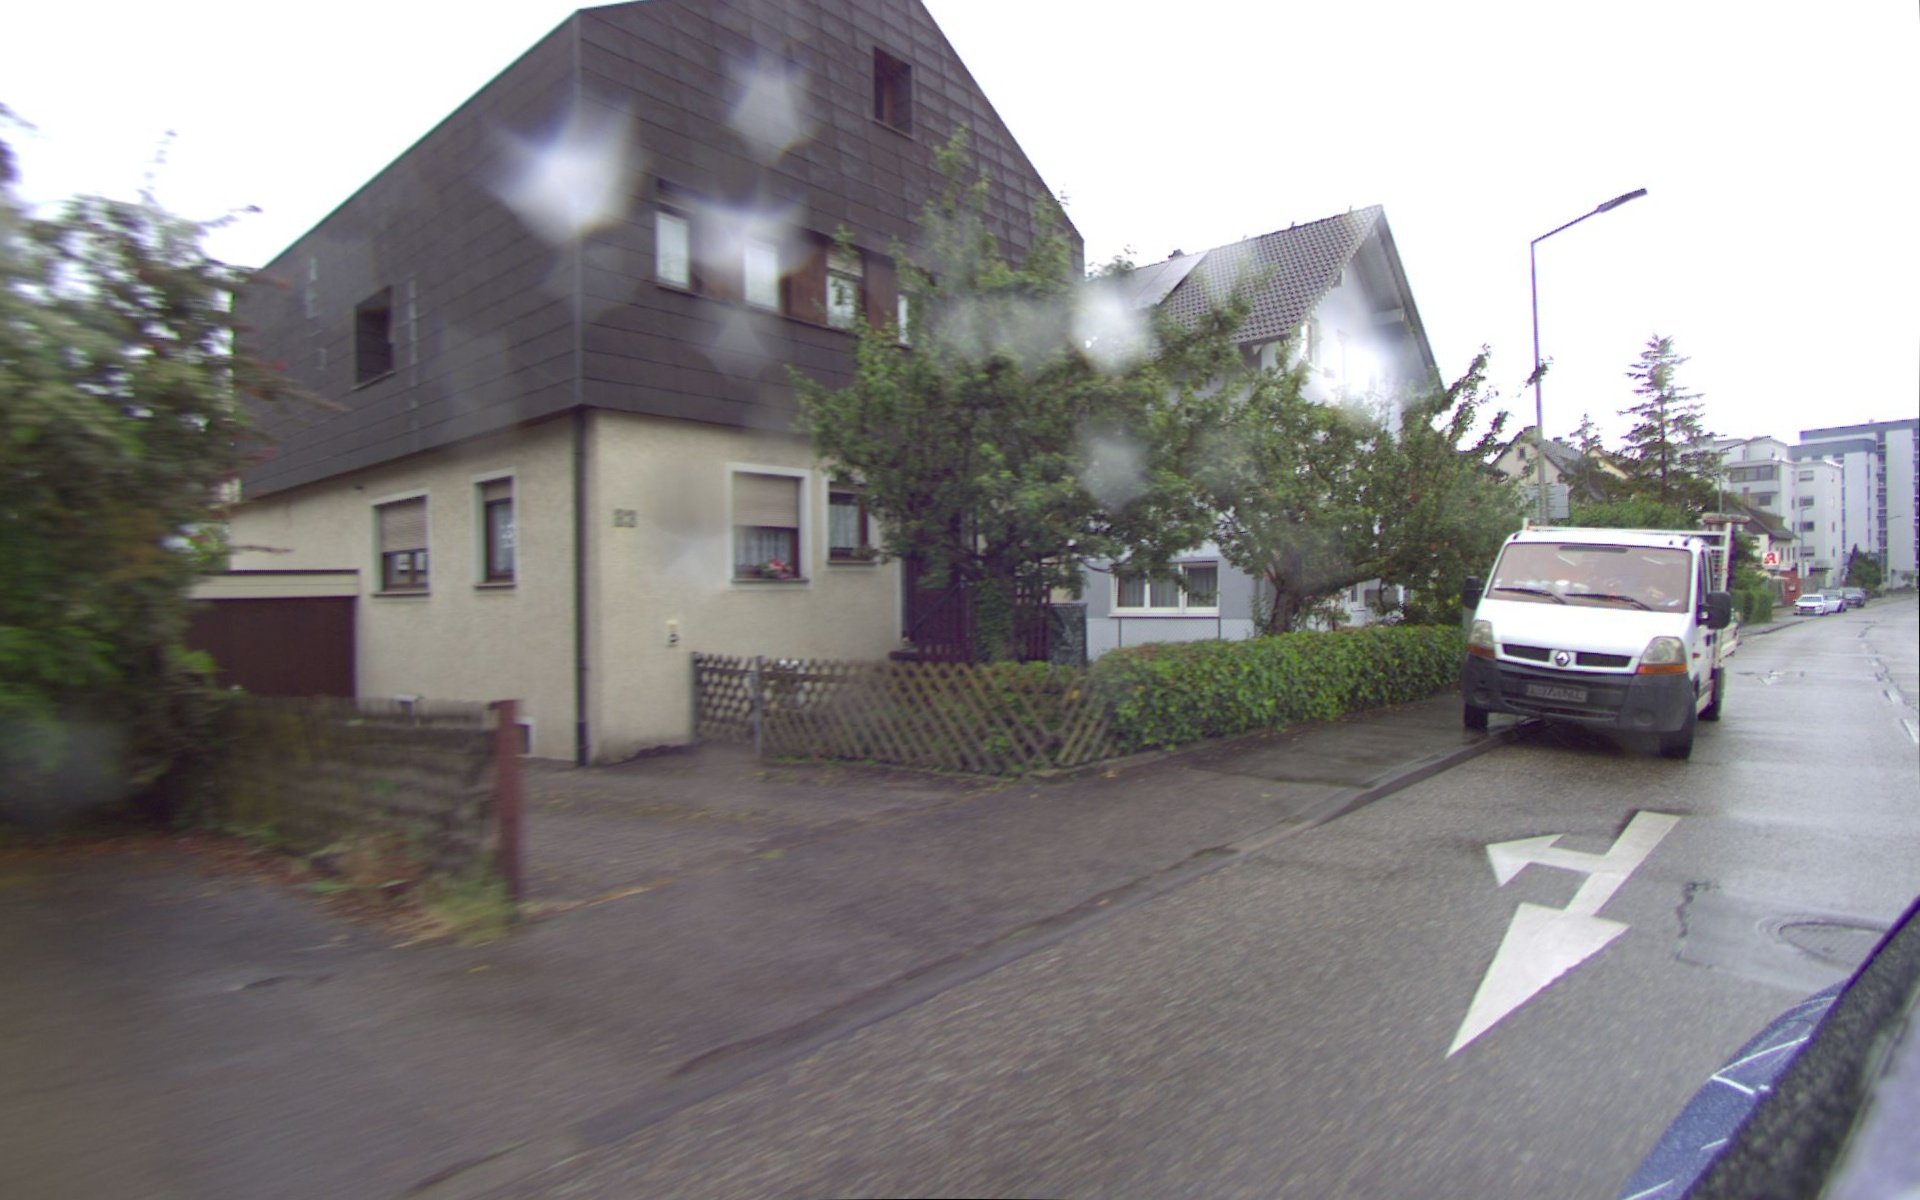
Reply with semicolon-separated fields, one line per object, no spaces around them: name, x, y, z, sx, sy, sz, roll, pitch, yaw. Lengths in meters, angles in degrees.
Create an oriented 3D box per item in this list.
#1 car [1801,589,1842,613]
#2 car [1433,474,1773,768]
car;61.482;0.030;72.189;3.641;1.652;1.909;-1;0;-44
car;7.686;0.149;11.673;2.389;2.462;6.336;0;0;41
